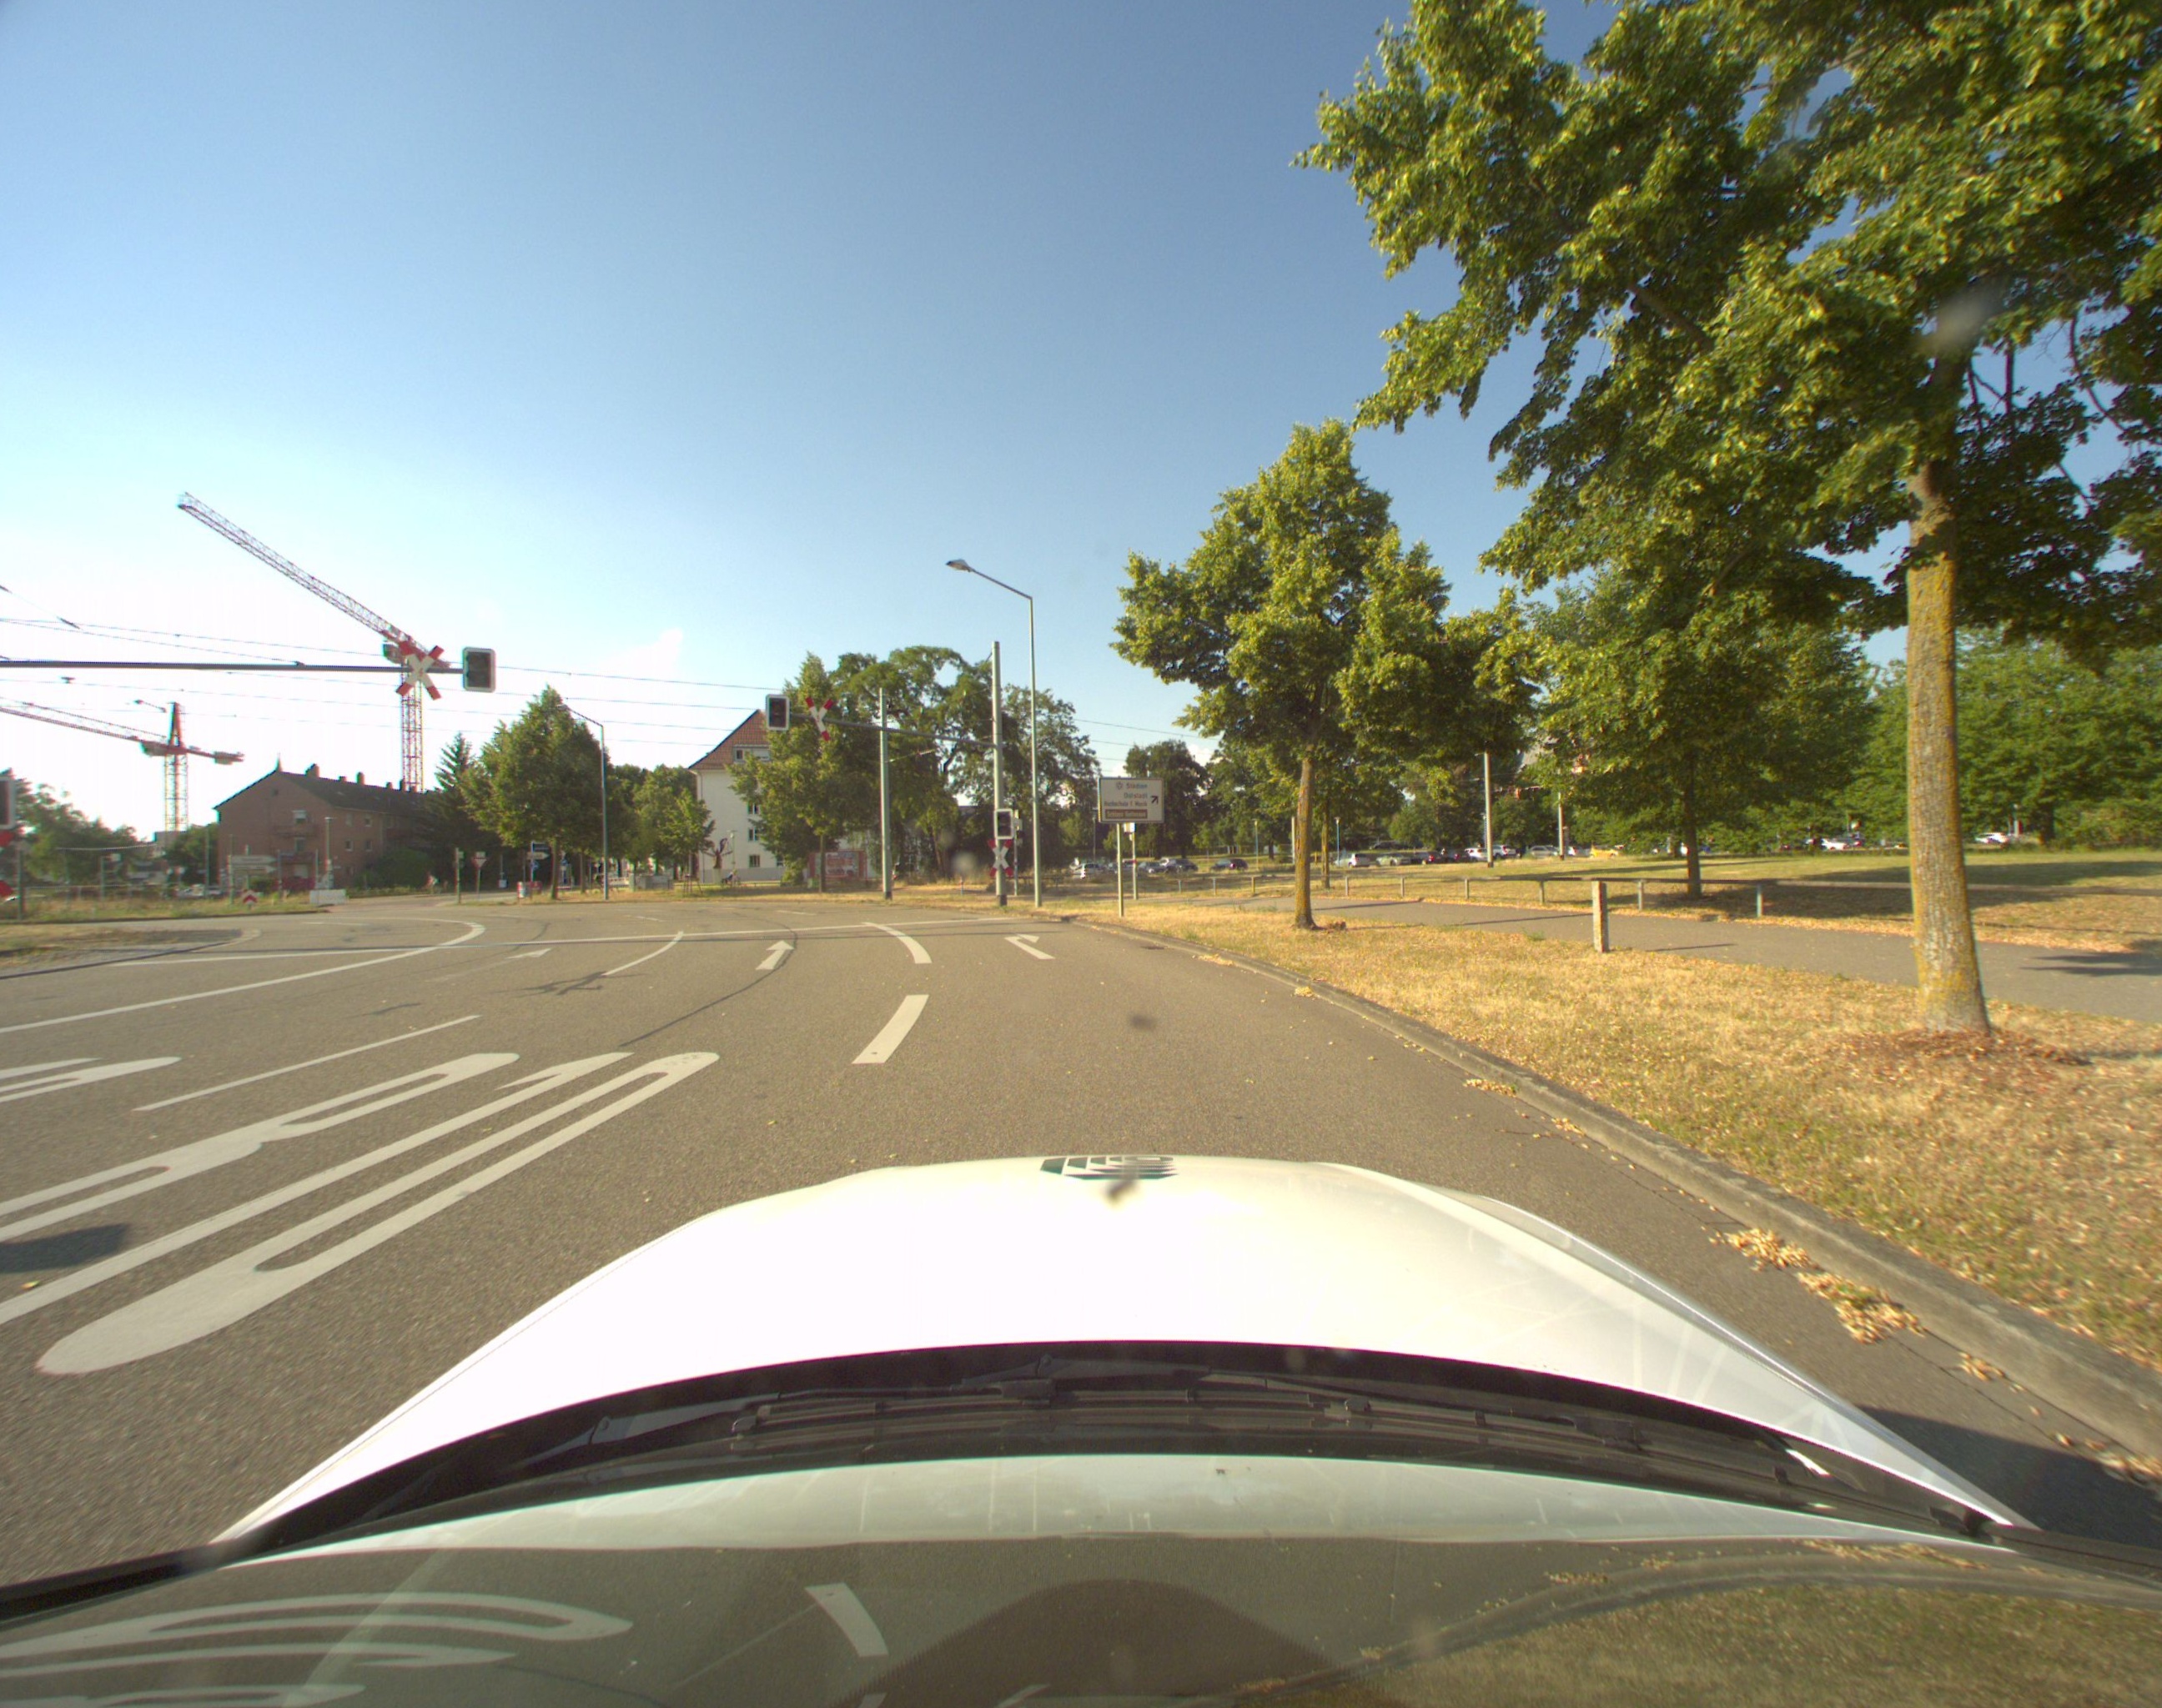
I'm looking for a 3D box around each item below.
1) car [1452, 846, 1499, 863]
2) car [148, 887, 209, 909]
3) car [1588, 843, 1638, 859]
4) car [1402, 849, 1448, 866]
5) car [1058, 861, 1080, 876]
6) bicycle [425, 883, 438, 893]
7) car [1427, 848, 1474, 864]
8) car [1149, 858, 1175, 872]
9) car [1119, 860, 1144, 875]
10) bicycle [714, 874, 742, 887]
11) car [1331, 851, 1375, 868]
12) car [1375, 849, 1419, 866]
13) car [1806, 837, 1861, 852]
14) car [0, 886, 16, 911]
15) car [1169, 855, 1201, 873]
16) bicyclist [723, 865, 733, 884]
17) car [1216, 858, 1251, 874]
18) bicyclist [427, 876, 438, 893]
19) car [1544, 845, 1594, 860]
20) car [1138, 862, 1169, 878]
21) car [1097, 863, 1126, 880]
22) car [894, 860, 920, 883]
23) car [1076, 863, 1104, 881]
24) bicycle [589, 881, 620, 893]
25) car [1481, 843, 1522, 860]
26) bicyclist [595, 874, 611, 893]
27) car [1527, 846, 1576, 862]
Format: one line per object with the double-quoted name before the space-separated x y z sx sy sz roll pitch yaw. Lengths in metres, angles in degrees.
"car" 37.058 0.059 76.655 1.824 1.403 3.980 -2 -1 -14
"car" -92.744 4.472 83.727 3.822 2.014 1.660 -2 -1 -20
"car" 52.958 -0.270 81.201 1.824 1.403 3.980 -2 -1 -14
"car" 31.729 0.362 75.204 1.824 1.403 3.980 -2 -1 -14
"car" -1.196 1.427 79.234 1.601 1.402 3.955 -2 -1 -10
"bicycle" -63.345 3.323 79.426 0.600 0.963 2.085 -1 -1 -29
"car" 34.217 0.222 75.535 1.824 1.403 3.980 -2 -1 -14
"car" 8.149 1.119 82.158 1.601 1.402 3.955 -2 -1 -10
"car" 4.936 1.327 80.060 1.601 1.402 3.955 -2 -1 -10
"bicycle" -27.966 2.077 64.486 2.005 0.918 0.425 -1 0 -44
"car" 24.531 0.496 73.550 1.824 1.403 3.980 -2 -1 -14
"car" 28.985 0.322 74.834 1.824 1.403 3.980 -2 -1 -14
"car" 81.848 -1.009 88.659 1.824 1.403 3.980 -2 -1 -14
"car" -89.634 3.709 65.943 3.822 2.014 1.660 -2 -1 -20
"car" 8.758 0.883 68.857 1.601 1.402 3.955 -2 -1 -10
"bicyclist" -27.960 1.611 64.511 0.627 1.511 0.413 -1 -1 -44
"car" 12.980 1.020 69.485 1.601 1.310 3.955 -2 -1 -10
"bicyclist" -63.444 2.974 79.638 0.662 1.562 0.885 -1 -1 -29
"car" 47.625 -0.131 79.558 1.824 1.403 3.980 -2 -1 -14
"car" 6.090 1.334 68.452 1.601 1.221 3.955 -2 -1 -10
"car" 2.545 1.459 68.085 1.601 1.402 3.955 -2 -1 -10
"car" -13.412 1.342 62.840 1.771 1.618 3.955 -2 -1 -10
"car" 0.695 1.449 67.214 1.601 1.402 3.955 -2 -1 -10
"bicycle" -36.222 2.489 61.935 2.005 0.825 0.425 -1 0 -44
"car" 46.898 -0.250 90.880 1.824 1.672 3.980 -2 -1 -14
"bicyclist" -36.361 2.219 61.917 0.905 1.396 0.519 -1 0 -44
"car" 45.361 -0.007 78.593 1.824 1.403 3.980 -2 -1 -14
